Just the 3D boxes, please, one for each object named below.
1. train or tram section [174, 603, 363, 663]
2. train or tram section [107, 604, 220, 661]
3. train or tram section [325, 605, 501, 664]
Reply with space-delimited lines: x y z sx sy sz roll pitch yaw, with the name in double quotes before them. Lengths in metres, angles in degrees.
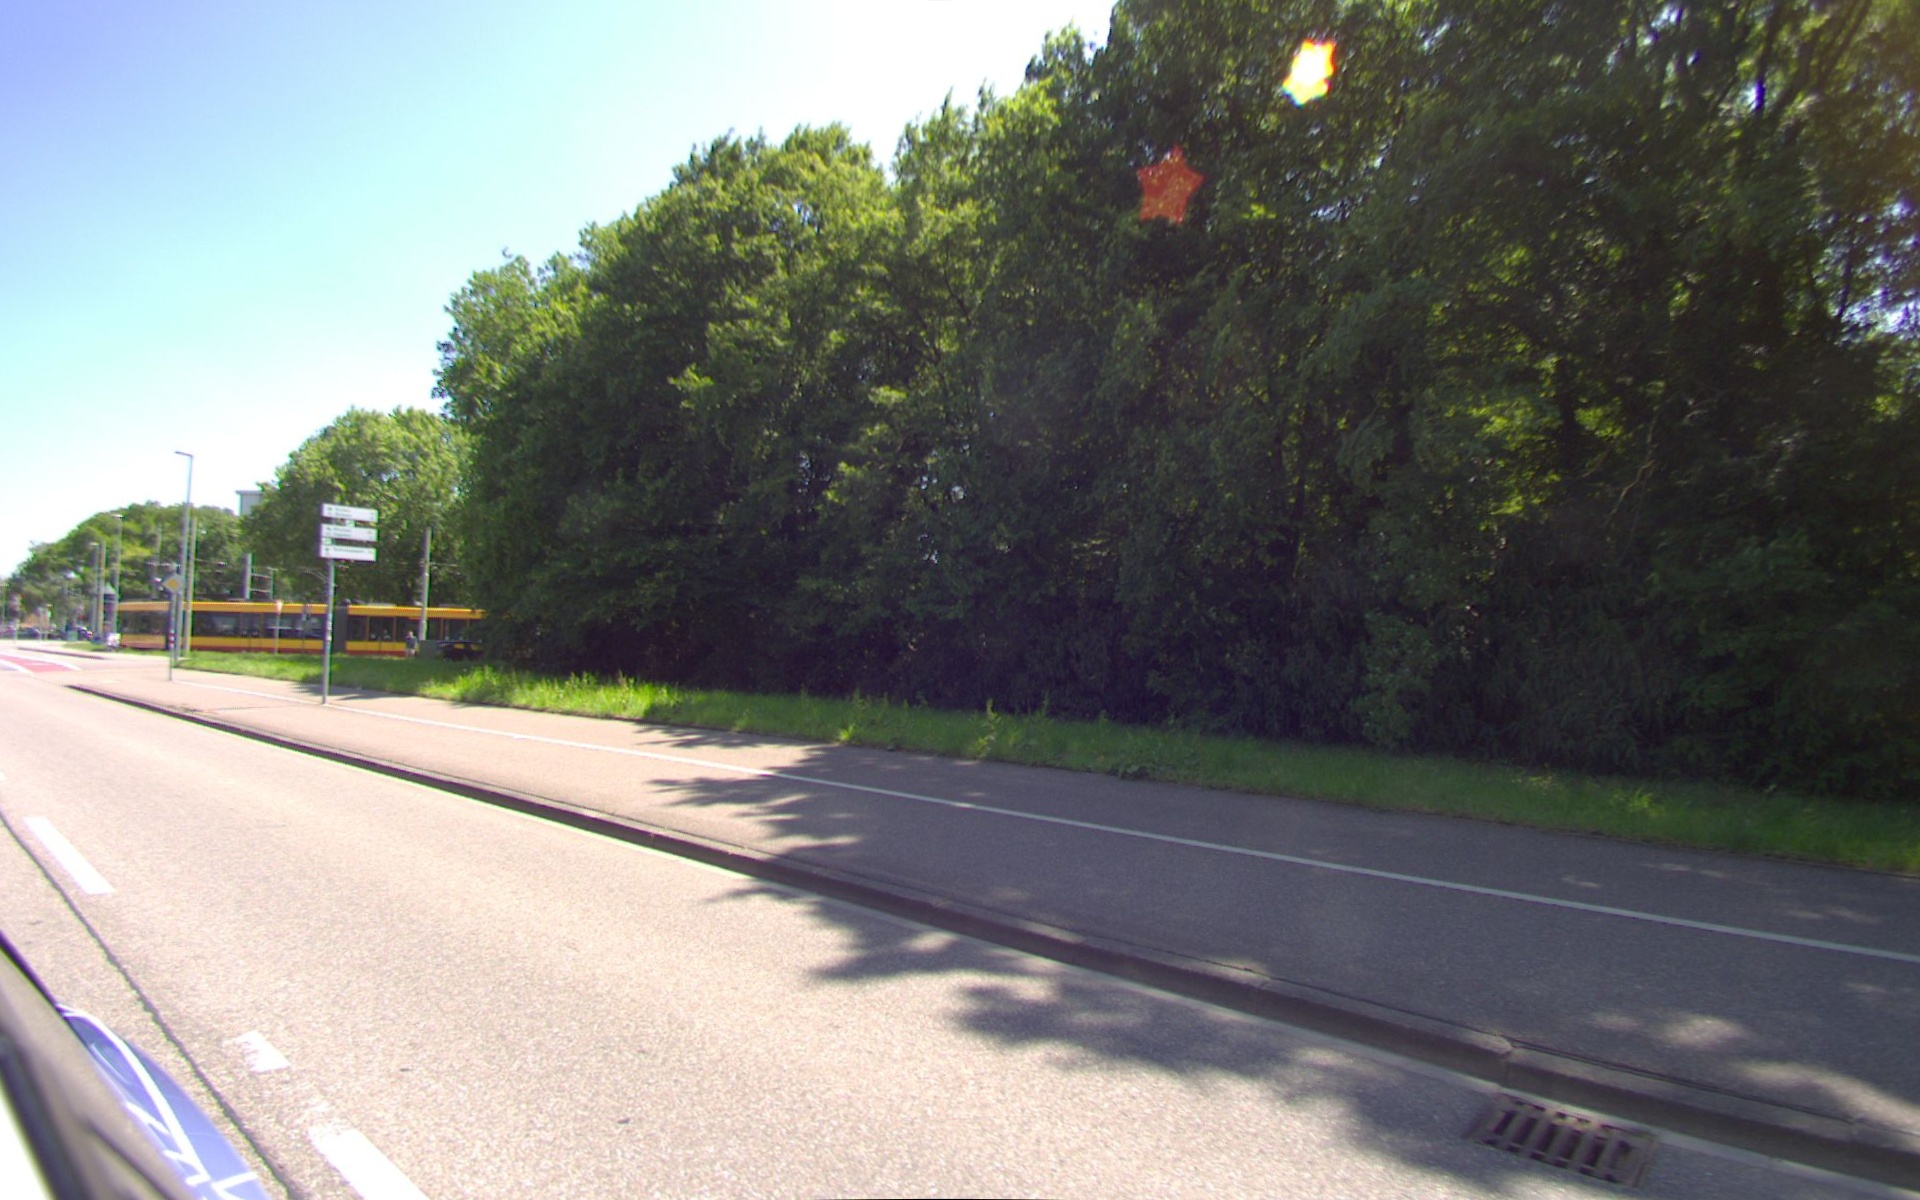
"train or tram section" -42.709 2.030 62.595 10.732 3.492 2.643 0 -3 10
"train or tram section" -52.341 2.147 66.364 10.825 3.492 2.549 -1 -3 34
"train or tram section" -33.792 2.198 62.948 9.193 3.492 2.791 1 -3 -16
